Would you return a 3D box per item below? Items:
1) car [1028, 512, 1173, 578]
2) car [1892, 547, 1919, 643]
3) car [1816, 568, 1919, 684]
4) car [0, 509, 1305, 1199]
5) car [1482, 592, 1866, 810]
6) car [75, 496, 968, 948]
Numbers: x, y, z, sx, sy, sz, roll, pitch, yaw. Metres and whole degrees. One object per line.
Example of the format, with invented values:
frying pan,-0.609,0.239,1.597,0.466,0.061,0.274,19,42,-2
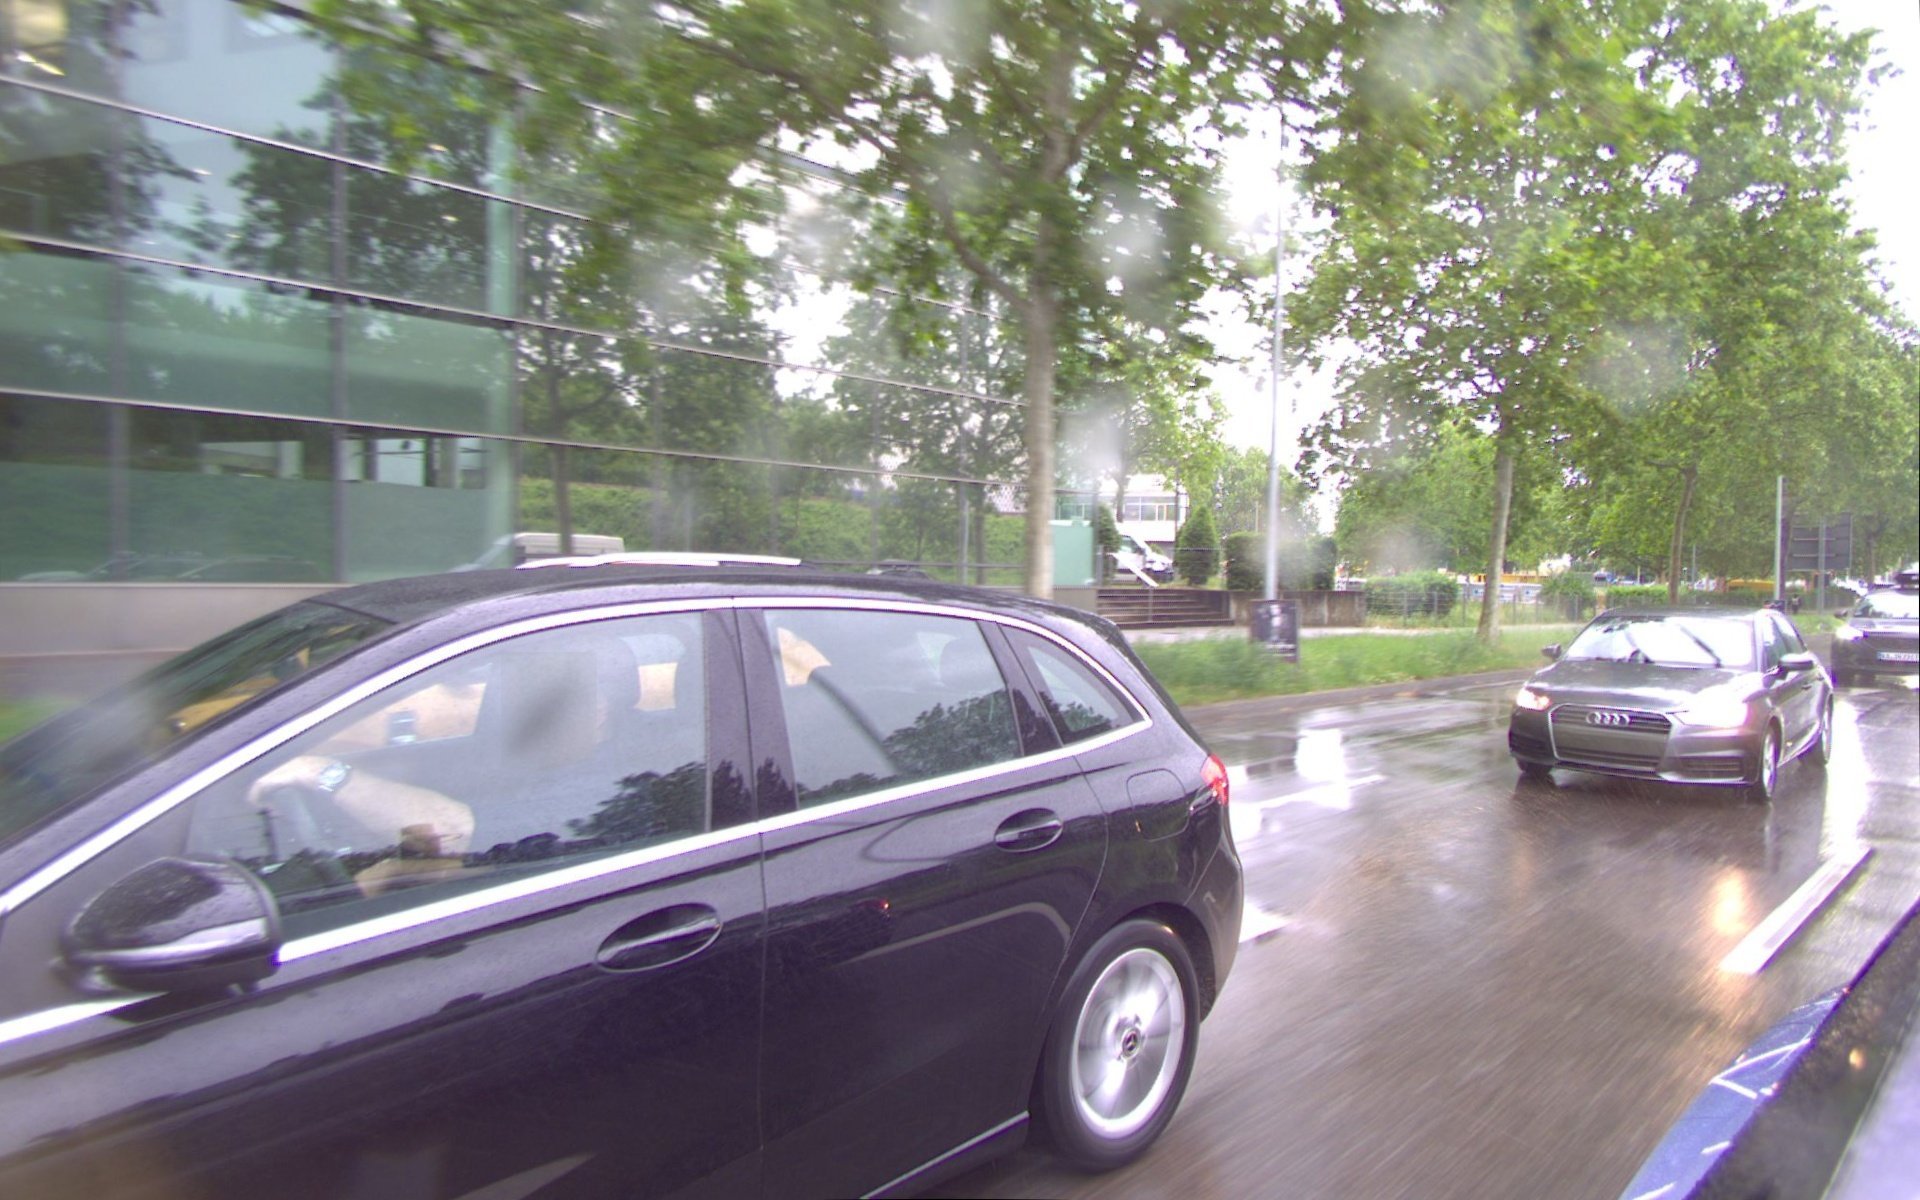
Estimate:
car,5.645,-2.158,40.594,5.610,2.487,1.992,0,0,13
car,26.887,-0.136,27.306,4.891,2.460,1.997,-1,2,-41
car,16.293,0.378,17.203,4.252,1.769,1.997,-1,2,-41
car,-1.140,0.632,2.303,4.016,1.542,1.874,-1,2,-41
car,6.147,0.647,8.576,3.688,1.415,1.839,-1,1,-41
car,-2.177,0.427,5.708,4.094,1.651,1.906,2,3,-39
